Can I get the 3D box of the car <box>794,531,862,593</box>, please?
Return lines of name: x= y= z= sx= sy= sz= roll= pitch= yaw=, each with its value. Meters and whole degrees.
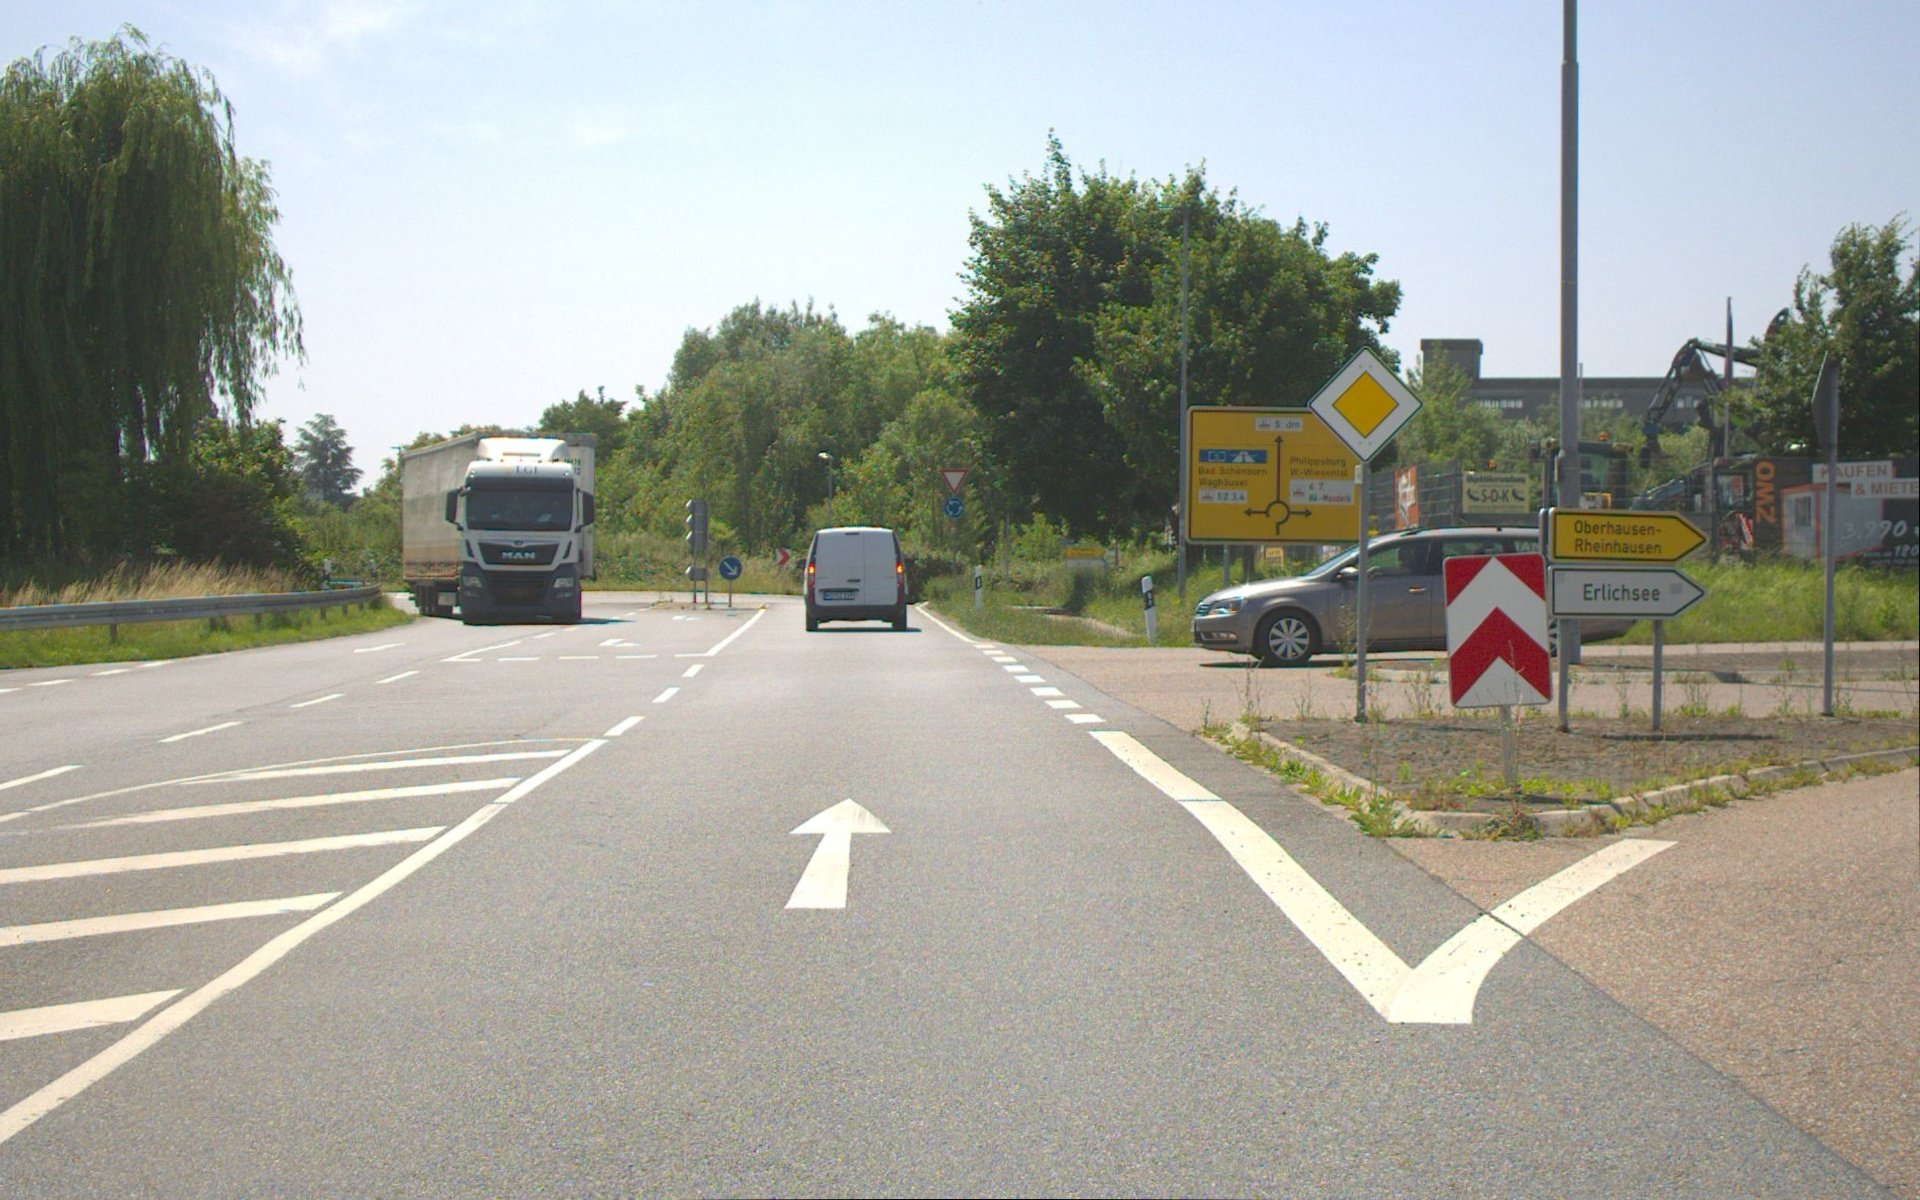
car: x=-3.588 y=-1.055 z=93.979 sx=1.805 sy=1.550 sz=4.001 roll=0 pitch=2 yaw=-2

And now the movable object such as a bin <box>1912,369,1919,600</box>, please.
movable object such as a bin: x=20.192 y=-2.085 z=62.184 sx=5.085 sy=4.260 sz=2.834 roll=2 pitch=-1 yaw=2

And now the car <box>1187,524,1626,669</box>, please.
car: x=4.811 y=-0.062 z=37.495 sx=4.511 sy=1.503 sz=1.914 roll=-1 pitch=1 yaw=-1

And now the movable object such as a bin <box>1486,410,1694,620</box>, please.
movable object such as a bin: x=10.453 y=-1.340 z=57.463 sx=2.323 sy=3.239 sz=5.102 roll=2 pitch=-1 yaw=-2

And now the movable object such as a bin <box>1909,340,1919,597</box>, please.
movable object such as a bin: x=21.864 y=-2.539 z=66.741 sx=5.919 sy=5.088 sz=3.108 roll=2 pitch=-1 yaw=2

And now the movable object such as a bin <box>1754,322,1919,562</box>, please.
movable object such as a bin: x=21.669 y=-3.582 z=79.621 sx=5.716 sy=5.251 sz=3.221 roll=2 pitch=-1 yaw=2

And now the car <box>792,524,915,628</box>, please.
car: x=-1.883 y=-0.417 z=59.876 sx=1.903 sy=1.726 sz=3.823 roll=1 pitch=0 yaw=-5

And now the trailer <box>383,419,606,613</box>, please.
trailer: x=-10.986 y=-1.994 z=79.727 sx=2.789 sy=4.042 sz=13.507 roll=2 pitch=1 yaw=-17

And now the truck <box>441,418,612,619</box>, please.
truck: x=-9.372 y=-1.760 z=73.725 sx=2.789 sy=4.042 sz=6.756 roll=2 pitch=1 yaw=-14

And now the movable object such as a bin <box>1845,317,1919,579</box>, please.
movable object such as a bin: x=22.007 y=-2.975 z=70.655 sx=6.591 sy=5.130 sz=3.806 roll=2 pitch=-1 yaw=2
